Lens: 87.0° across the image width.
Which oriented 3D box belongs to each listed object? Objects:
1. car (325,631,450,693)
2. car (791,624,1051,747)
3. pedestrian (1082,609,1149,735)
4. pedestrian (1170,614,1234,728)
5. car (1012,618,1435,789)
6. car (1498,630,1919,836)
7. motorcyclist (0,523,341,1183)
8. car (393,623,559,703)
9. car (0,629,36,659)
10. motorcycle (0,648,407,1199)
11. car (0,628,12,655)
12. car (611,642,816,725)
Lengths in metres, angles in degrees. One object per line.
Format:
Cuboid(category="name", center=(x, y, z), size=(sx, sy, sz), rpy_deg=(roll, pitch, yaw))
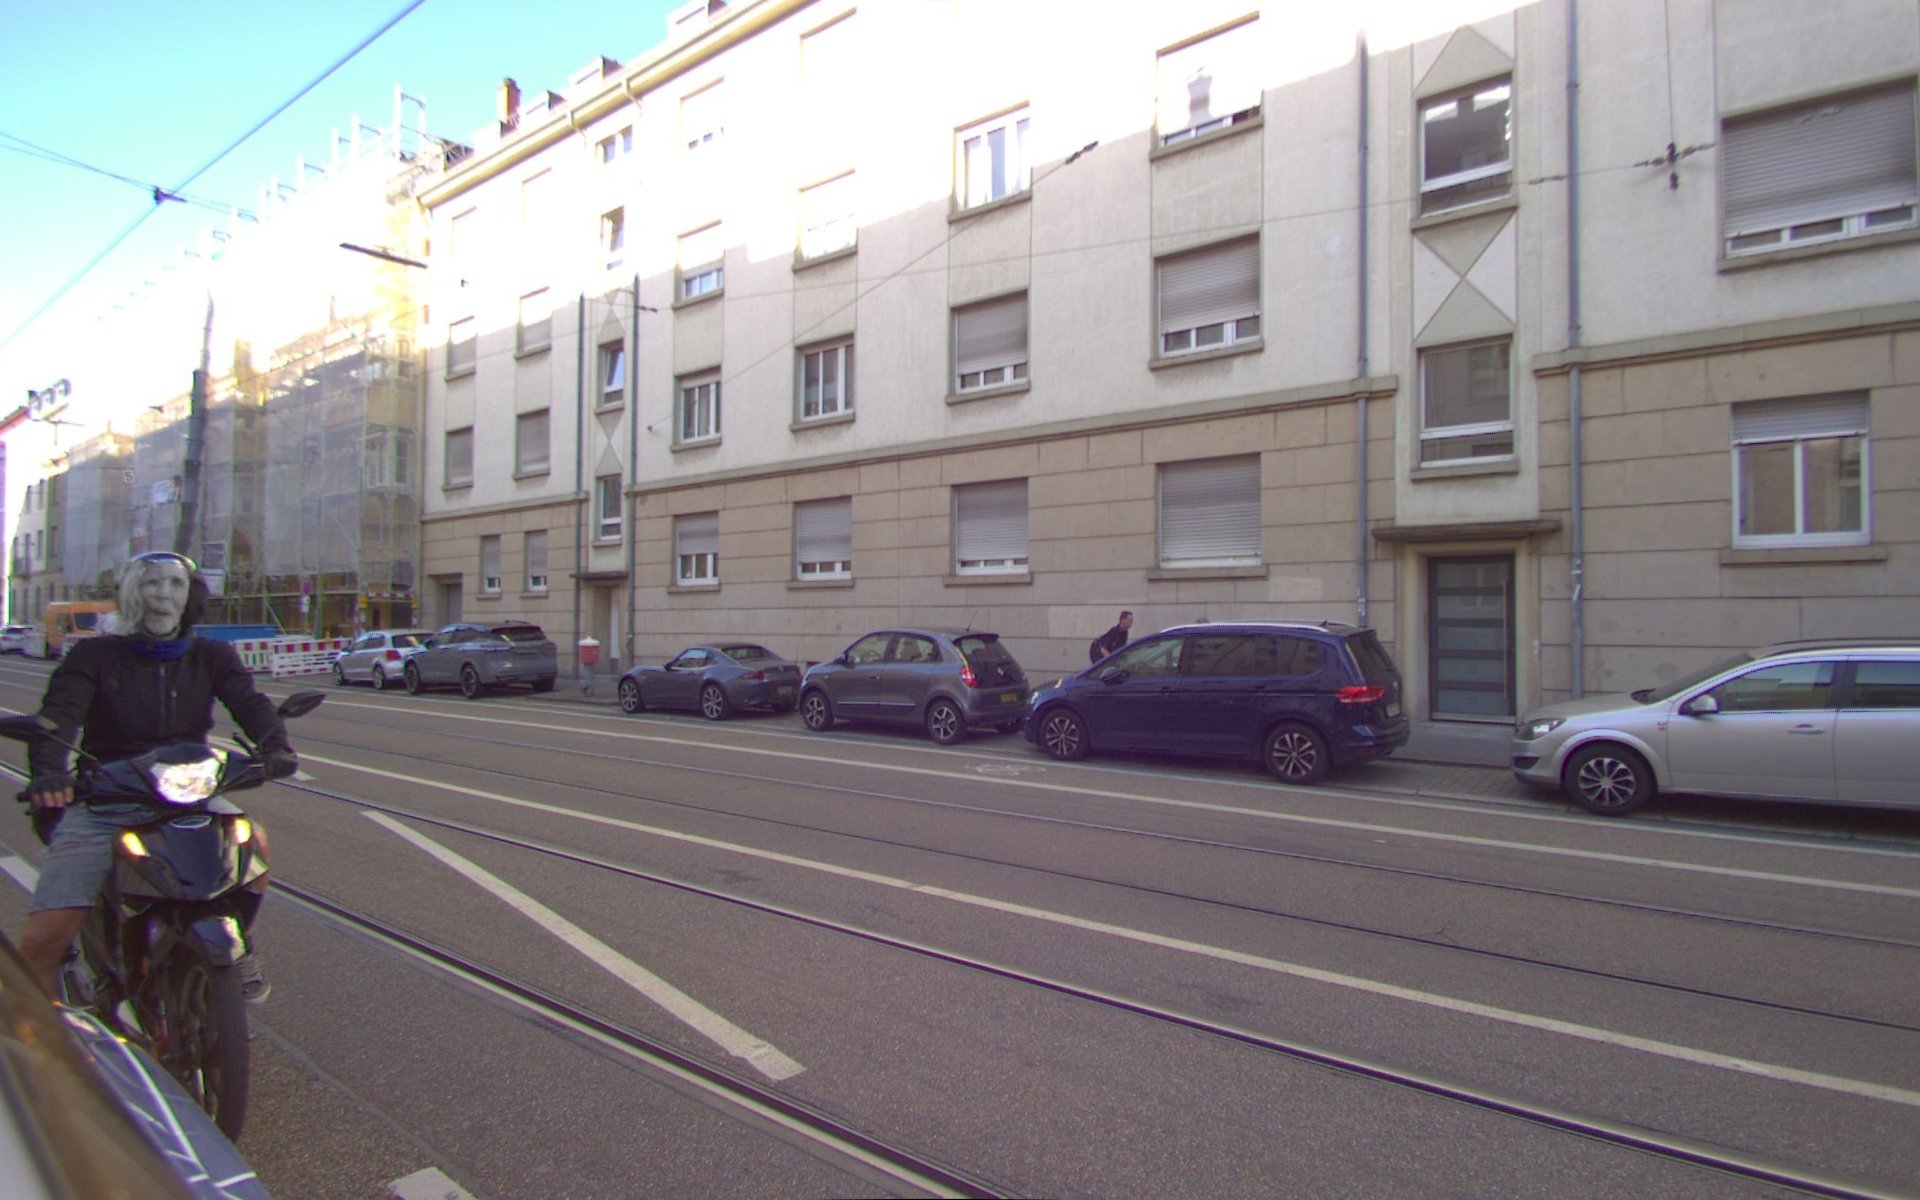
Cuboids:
Cuboid(category="car", center=(-14.381, 1.504, 25.382), size=(3.506, 1.423, 1.524), rpy_deg=(-1, -2, 38))
Cuboid(category="car", center=(-0.624, 1.137, 14.641), size=(3.535, 1.539, 1.659), rpy_deg=(-1, -2, 38))
Cuboid(category="pedestrian", center=(2.200, 0.994, 14.316), size=(0.729, 1.722, 0.597), rpy_deg=(-2, -3, 39))
Cuboid(category="pedestrian", center=(3.404, 0.981, 14.251), size=(0.693, 1.553, 0.563), rpy_deg=(-2, -3, 39))
Cuboid(category="car", center=(2.897, 1.037, 11.663), size=(4.383, 1.611, 1.779), rpy_deg=(-1, -1, 38))
Cuboid(category="car", center=(7.131, 1.006, 8.489), size=(4.383, 1.489, 1.779), rpy_deg=(-1, -1, 38))
Cuboid(category="motorcyclist", center=(-2.537, 0.658, 3.146), size=(0.899, 1.668, 0.781), rpy_deg=(-2, -3, 41))
Cuboid(category="car", center=(-10.879, 1.339, 22.645), size=(4.201, 1.611, 1.675), rpy_deg=(-1, -2, 38))
Cuboid(category="car", center=(-50.065, 2.278, 53.322), size=(3.964, 1.498, 1.662), rpy_deg=(-2, -1, 42))
Cuboid(category="motorcycle", center=(-2.634, 0.819, 3.223), size=(2.272, 1.302, 0.781), rpy_deg=(-2, -3, 41))
Cuboid(category="car", center=(-54.581, 2.333, 56.798), size=(3.964, 1.498, 1.662), rpy_deg=(-2, -1, 42))
Cuboid(category="car", center=(-4.310, 1.371, 17.486), size=(3.681, 1.244, 1.502), rpy_deg=(-1, -1, 38))
